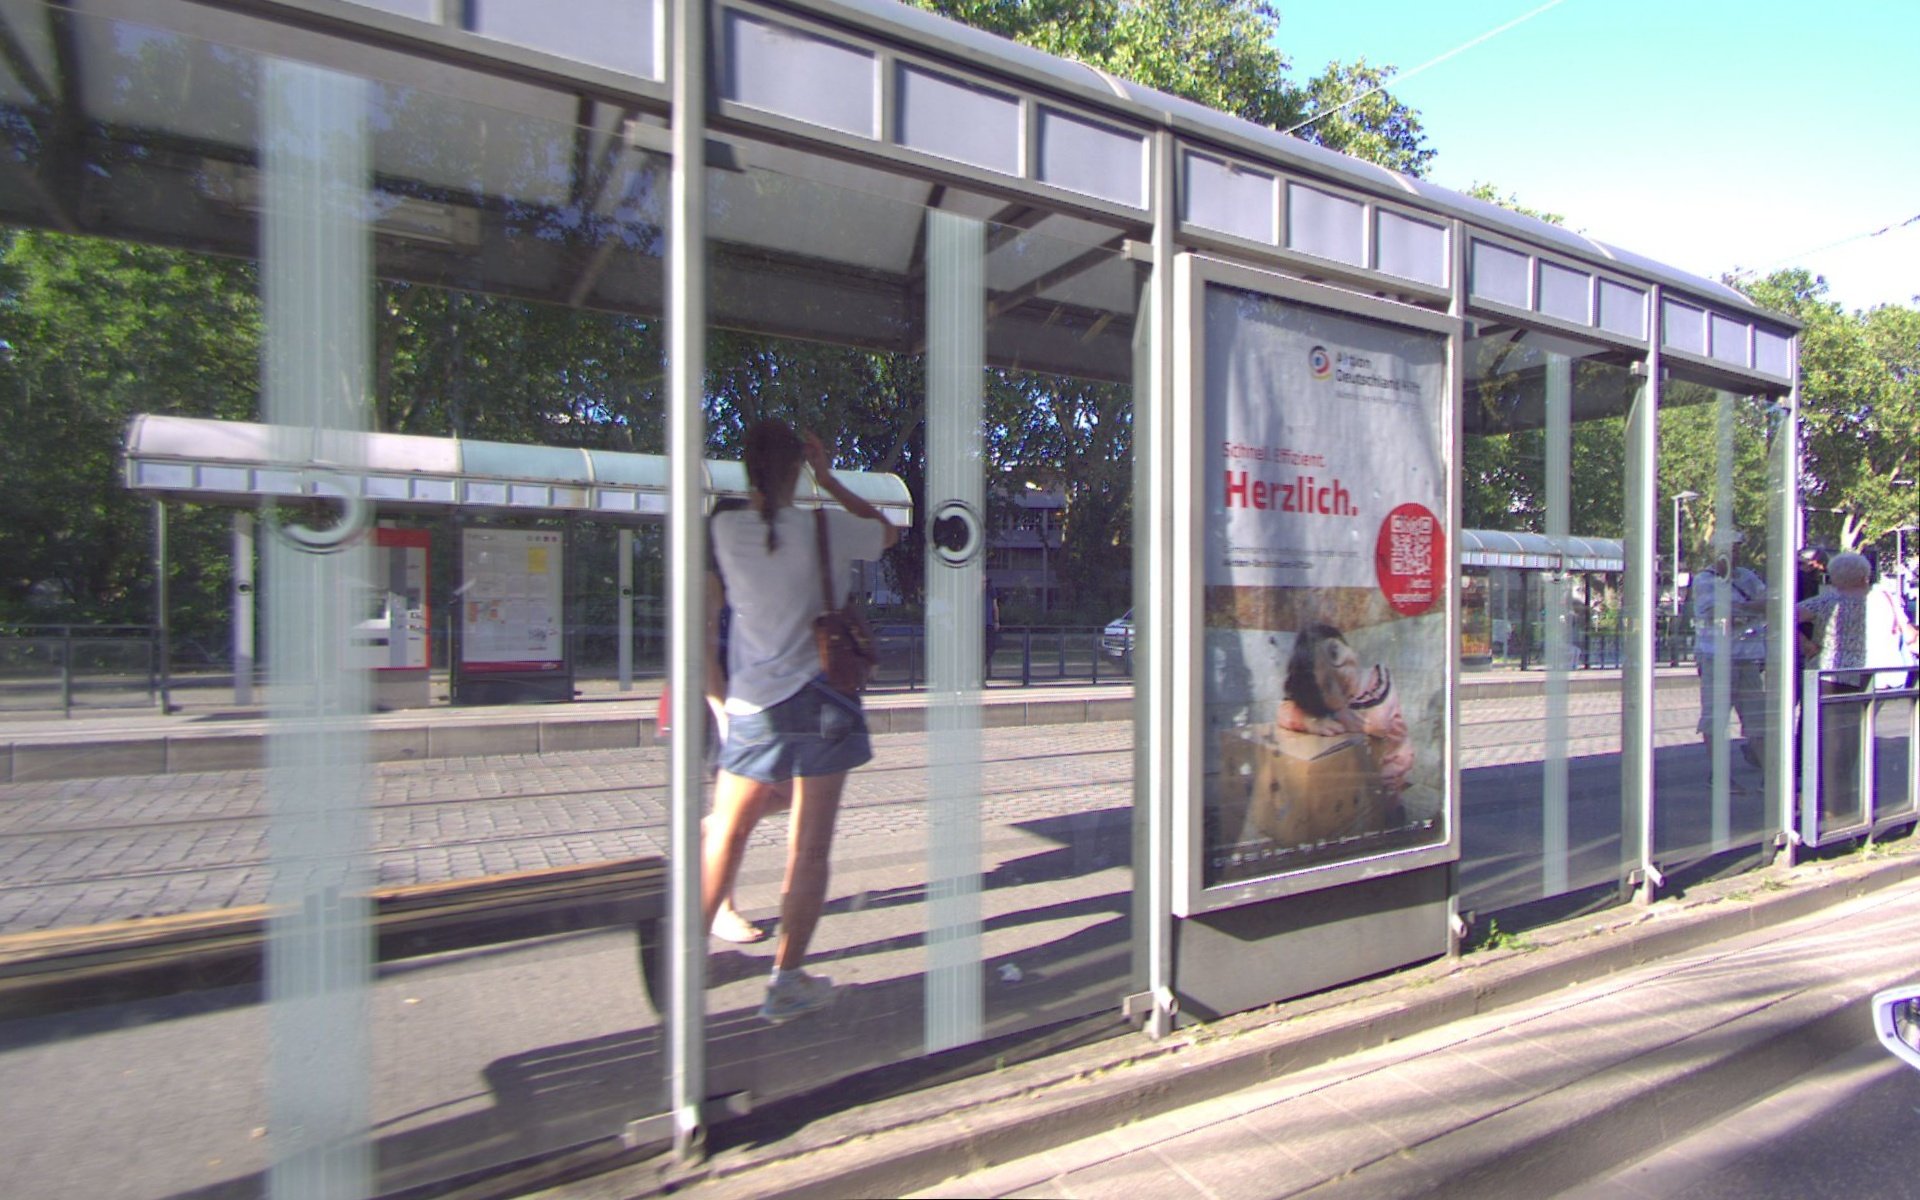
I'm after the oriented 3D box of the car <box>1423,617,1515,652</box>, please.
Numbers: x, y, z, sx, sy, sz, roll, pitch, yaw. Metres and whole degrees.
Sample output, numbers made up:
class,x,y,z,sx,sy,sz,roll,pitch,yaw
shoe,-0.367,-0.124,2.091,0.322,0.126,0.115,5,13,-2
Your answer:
class,x,y,z,sx,sy,sz,roll,pitch,yaw
car,36.452,2.441,72.013,5.616,2.367,2.155,1,0,-7

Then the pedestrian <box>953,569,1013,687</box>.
class,x,y,z,sx,sy,sz,roll,pitch,yaw
pedestrian,0.357,0.426,15.661,0.642,1.795,0.645,2,0,-27

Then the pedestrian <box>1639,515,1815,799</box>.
class,x,y,z,sx,sy,sz,roll,pitch,yaw
pedestrian,5.340,0.379,7.017,0.699,1.866,0.650,1,1,-20

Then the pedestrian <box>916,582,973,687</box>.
class,x,y,z,sx,sy,sz,roll,pitch,yaw
pedestrian,-0.241,0.520,15.357,0.619,1.564,0.590,2,0,-30

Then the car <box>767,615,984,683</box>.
class,x,y,z,sx,sy,sz,roll,pitch,yaw
car,-1.747,1.039,21.239,4.267,1.309,1.761,2,-3,-32

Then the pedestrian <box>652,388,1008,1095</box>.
class,x,y,z,sx,sy,sz,roll,pitch,yaw
pedestrian,-0.409,0.347,2.953,0.781,1.717,0.739,1,1,-29

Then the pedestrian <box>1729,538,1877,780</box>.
class,x,y,z,sx,sy,sz,roll,pitch,yaw
pedestrian,6.442,0.420,7.716,0.641,1.745,0.710,2,1,25

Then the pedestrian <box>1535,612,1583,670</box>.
class,x,y,z,sx,sy,sz,roll,pitch,yaw
pedestrian,13.975,0.959,23.442,0.748,1.342,0.666,1,-3,-32

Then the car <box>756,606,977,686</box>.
class,x,y,z,sx,sy,sz,roll,pitch,yaw
car,-1.920,0.975,21.114,4.293,1.530,1.785,2,-3,-32

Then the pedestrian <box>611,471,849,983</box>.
class,x,y,z,sx,sy,sz,roll,pitch,yaw
pedestrian,-0.822,0.395,3.525,0.642,1.588,0.585,1,1,-29

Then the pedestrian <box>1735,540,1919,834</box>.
class,x,y,z,sx,sy,sz,roll,pitch,yaw
pedestrian,5.448,0.492,6.081,0.849,1.656,0.803,2,2,8

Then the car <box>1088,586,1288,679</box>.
class,x,y,z,sx,sy,sz,roll,pitch,yaw
car,5.878,0.863,25.678,5.034,2.152,2.056,2,-2,-32
